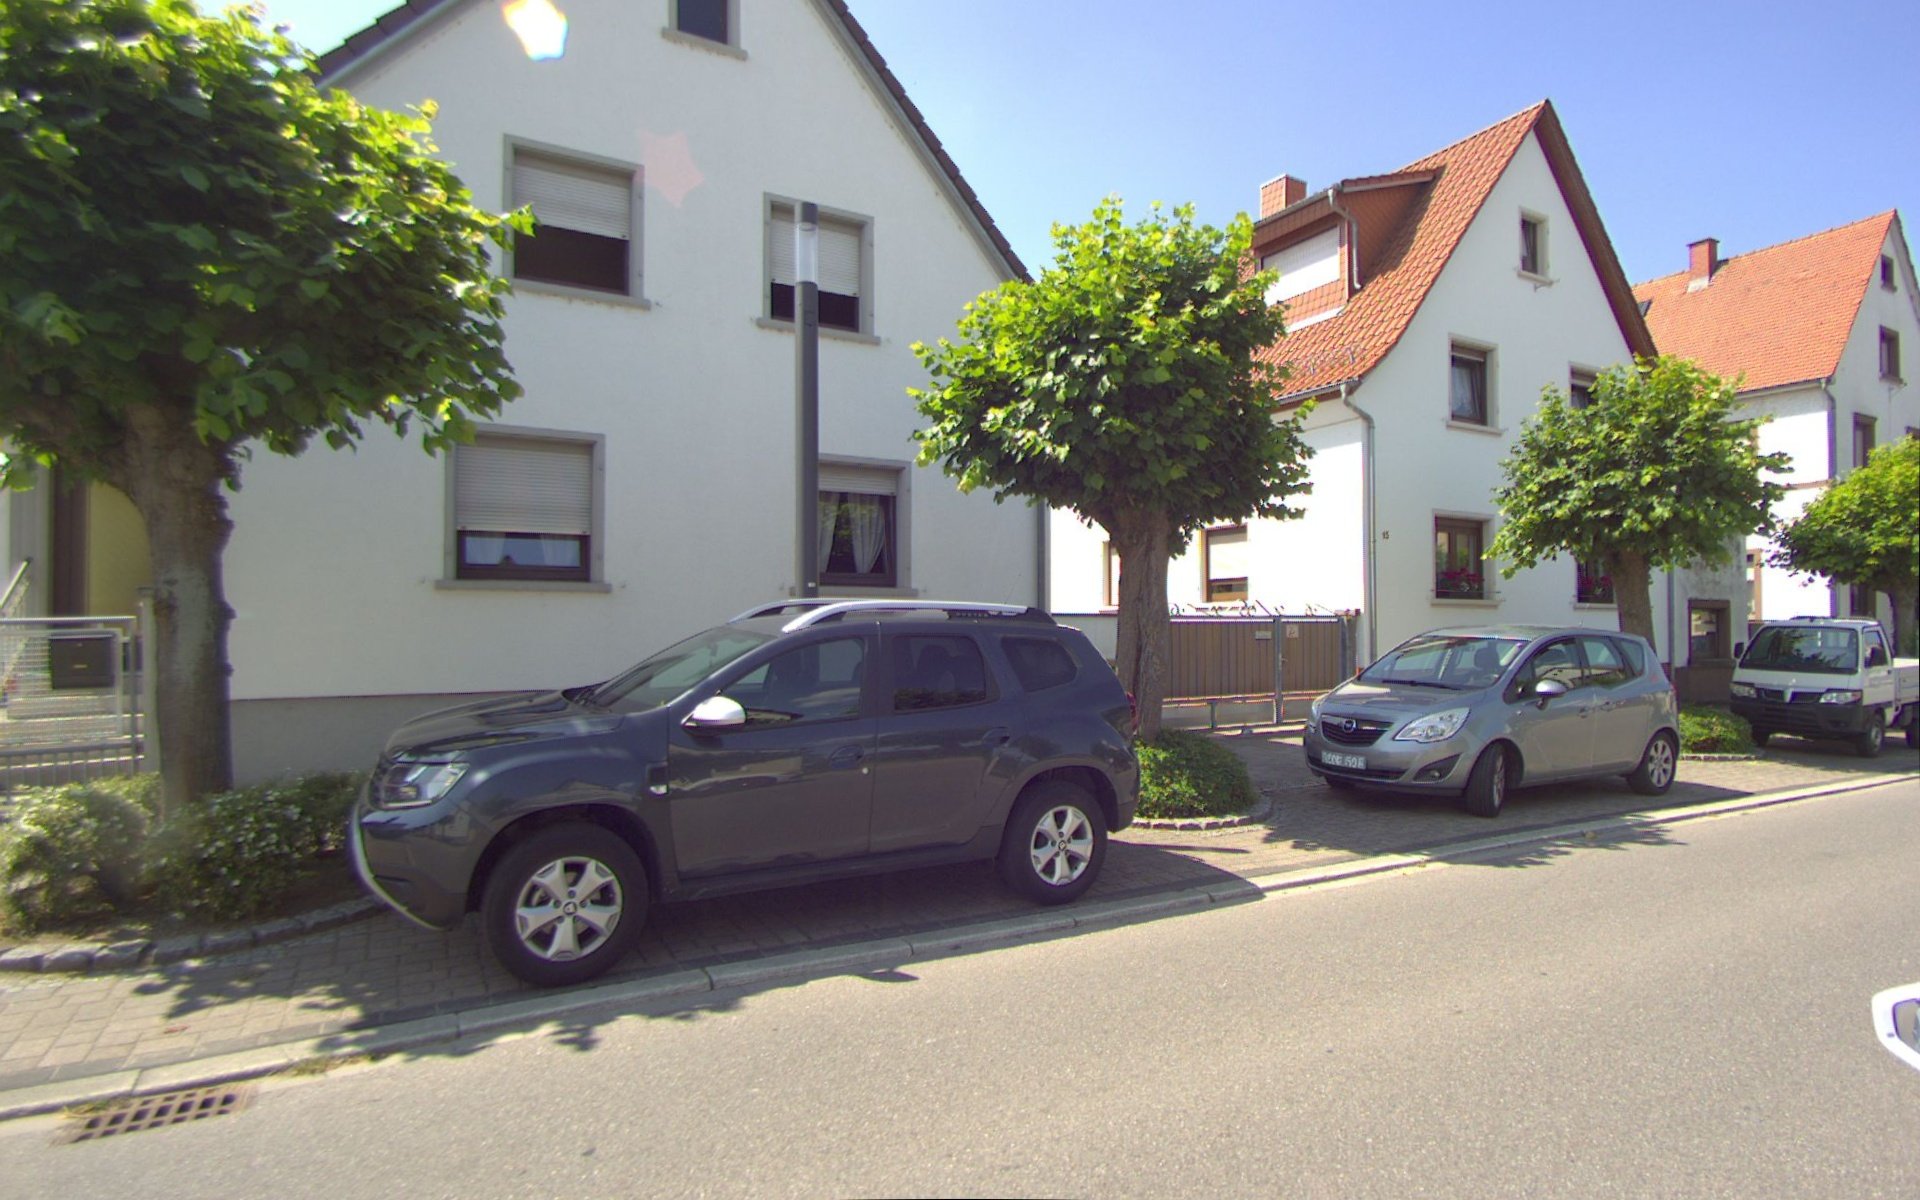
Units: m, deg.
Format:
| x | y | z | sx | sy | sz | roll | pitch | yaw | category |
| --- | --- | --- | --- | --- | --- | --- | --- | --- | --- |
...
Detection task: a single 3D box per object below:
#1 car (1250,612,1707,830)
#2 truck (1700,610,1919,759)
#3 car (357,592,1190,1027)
| x | y | z | sx | sy | sz | roll | pitch | yaw | category |
| --- | --- | --- | --- | --- | --- | --- | --- | --- | --- |
| 5.026 | 1.001 | 9.610 | 4.319 | 1.634 | 1.844 | 2 | 0 | -30 | car |
| 12.204 | 1.092 | 13.964 | 4.143 | 1.789 | 1.568 | 2 | 0 | -30 | truck |
| -0.920 | 0.817 | 5.721 | 4.248 | 1.658 | 1.844 | 1 | 1 | -30 | car |
